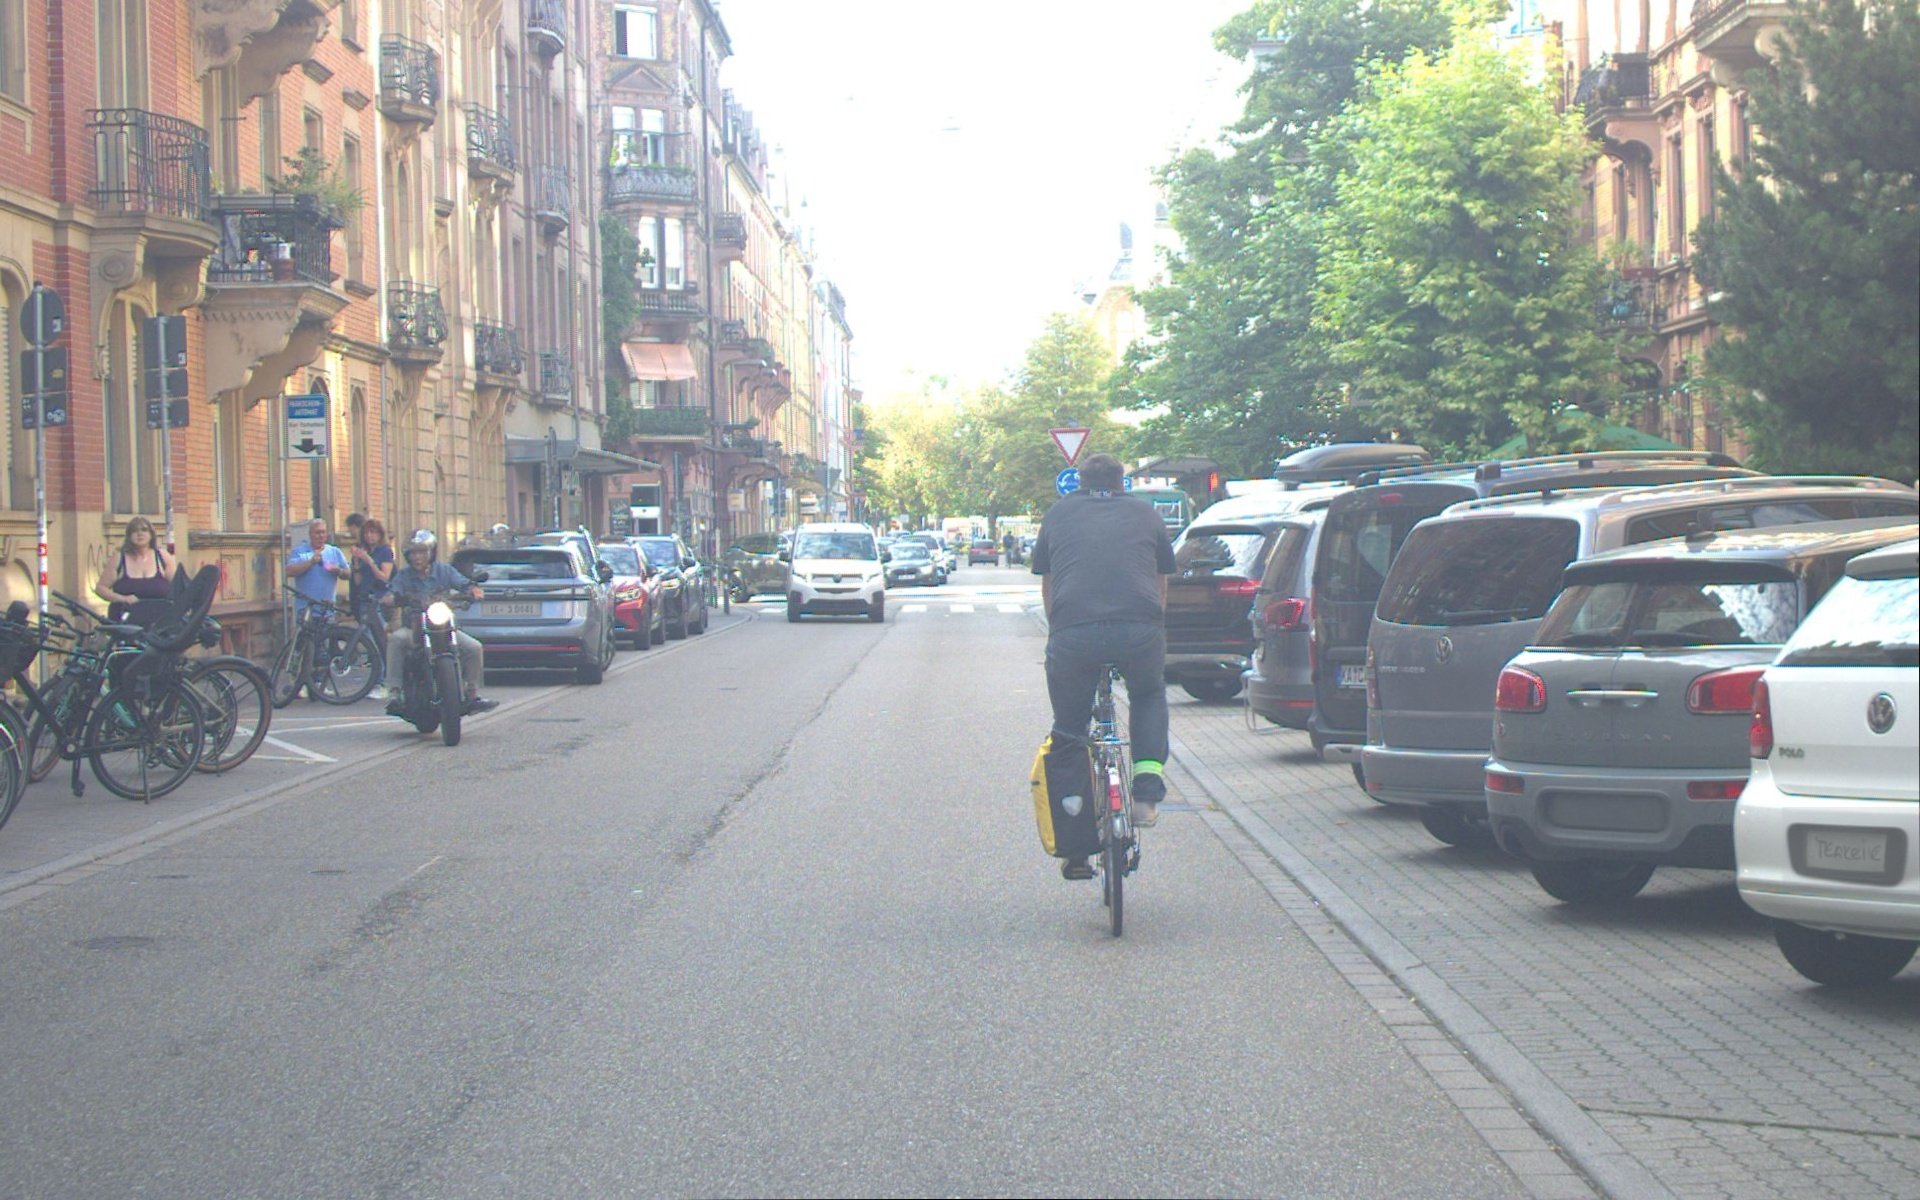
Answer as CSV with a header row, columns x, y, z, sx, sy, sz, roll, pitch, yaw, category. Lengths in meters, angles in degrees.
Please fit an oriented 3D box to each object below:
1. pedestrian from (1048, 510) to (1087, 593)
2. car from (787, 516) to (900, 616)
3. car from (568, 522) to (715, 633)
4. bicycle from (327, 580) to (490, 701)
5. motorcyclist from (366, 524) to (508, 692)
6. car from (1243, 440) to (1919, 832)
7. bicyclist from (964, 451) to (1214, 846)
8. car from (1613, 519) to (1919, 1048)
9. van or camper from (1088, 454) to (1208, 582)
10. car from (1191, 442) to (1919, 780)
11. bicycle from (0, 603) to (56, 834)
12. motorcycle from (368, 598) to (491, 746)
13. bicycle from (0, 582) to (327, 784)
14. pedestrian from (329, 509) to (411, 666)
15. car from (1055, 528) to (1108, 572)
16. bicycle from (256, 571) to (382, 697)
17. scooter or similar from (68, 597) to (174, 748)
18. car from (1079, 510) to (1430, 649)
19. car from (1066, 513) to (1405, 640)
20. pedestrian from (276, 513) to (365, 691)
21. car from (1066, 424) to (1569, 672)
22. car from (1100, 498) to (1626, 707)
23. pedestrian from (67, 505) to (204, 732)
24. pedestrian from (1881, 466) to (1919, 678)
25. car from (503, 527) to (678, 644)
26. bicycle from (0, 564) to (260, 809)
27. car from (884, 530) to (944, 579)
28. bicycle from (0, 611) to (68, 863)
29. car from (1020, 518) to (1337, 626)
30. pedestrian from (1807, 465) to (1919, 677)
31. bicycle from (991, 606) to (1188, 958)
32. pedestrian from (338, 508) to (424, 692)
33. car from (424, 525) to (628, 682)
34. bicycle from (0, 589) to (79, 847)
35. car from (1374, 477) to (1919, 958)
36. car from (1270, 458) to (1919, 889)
x,y,z,sx,sy,sz,roll,pitch,yaw,category
2.264,-1.023,72.384,0.629,1.733,0.775,-1,1,13,pedestrian
-2.158,-0.661,64.757,1.917,1.822,4.438,0,1,1,car
-4.947,-0.368,53.975,1.790,1.623,4.847,-1,1,0,car
-5.020,0.353,31.407,0.482,1.055,1.902,1,1,24,bicycle
-3.925,0.054,25.866,1.013,1.241,0.803,0,1,-5,motorcyclist
3.885,0.118,18.706,4.389,1.816,1.755,-4,1,-31,car
0.482,0.177,13.241,0.933,1.478,0.747,0,1,0,bicyclist
4.192,0.386,10.799,3.987,1.445,1.736,-5,1,-32,car
4.648,-2.038,85.627,2.531,3.027,4.459,-1,1,-2,van or camper
3.930,0.028,22.190,4.636,1.778,1.810,-4,3,-1,car
-5.314,0.584,16.642,1.733,1.116,0.555,-1,1,-36,bicycle
-3.924,0.510,25.569,0.793,0.992,2.500,0,1,-6,motorcycle
-5.057,0.482,21.321,0.808,1.155,2.265,1,1,38,bicycle
-6.861,-0.157,40.018,0.756,1.802,0.863,0,1,4,pedestrian
3.965,-1.643,112.562,1.645,1.320,3.576,-4,1,2,car
-5.778,0.293,31.095,0.493,1.091,1.904,1,1,9,bicycle
-6.025,0.512,24.729,0.605,1.051,0.922,0,1,-5,scooter or similar
3.887,-0.293,44.965,4.456,1.472,1.889,-6,4,-39,car
3.857,-0.350,47.868,4.455,1.459,1.879,-5,3,-34,car
-6.013,0.009,32.303,0.679,1.655,0.551,0,1,-30,pedestrian
3.833,-0.588,36.430,5.143,2.397,1.918,-3,1,-33,car
3.627,-0.035,30.653,4.444,1.726,2.000,-1,2,-34,car
-6.116,0.126,25.535,0.910,1.655,0.828,0,1,-8,pedestrian
7.656,-0.223,27.194,0.573,1.653,0.633,0,1,1,pedestrian
-5.159,-0.228,48.506,1.993,1.539,4.427,-1,1,-1,car
-4.791,0.461,19.161,1.672,1.317,0.527,-1,1,-35,bicycle
-1.410,-1.354,103.630,1.750,1.431,4.212,0,0,-1,car
-4.866,0.624,15.435,1.565,1.116,0.591,-1,1,-36,bicycle
3.585,-0.482,56.293,4.753,1.452,2.057,-4,3,-27,car
7.341,-0.239,27.820,0.646,1.689,0.699,-1,1,-43,pedestrian
0.460,0.635,13.203,0.666,1.174,2.497,0,1,0,bicycle
-5.422,-0.006,32.166,0.564,1.703,0.667,0,1,-35,pedestrian
-4.605,-0.013,37.107,1.825,1.573,5.264,0,1,-3,car
-5.082,0.559,16.052,1.785,1.196,0.591,-1,1,-36,bicycle
3.762,0.312,13.484,3.988,1.543,1.868,-5,2,-37,car
3.647,0.242,16.104,3.987,1.735,1.840,-3,2,-30,car
